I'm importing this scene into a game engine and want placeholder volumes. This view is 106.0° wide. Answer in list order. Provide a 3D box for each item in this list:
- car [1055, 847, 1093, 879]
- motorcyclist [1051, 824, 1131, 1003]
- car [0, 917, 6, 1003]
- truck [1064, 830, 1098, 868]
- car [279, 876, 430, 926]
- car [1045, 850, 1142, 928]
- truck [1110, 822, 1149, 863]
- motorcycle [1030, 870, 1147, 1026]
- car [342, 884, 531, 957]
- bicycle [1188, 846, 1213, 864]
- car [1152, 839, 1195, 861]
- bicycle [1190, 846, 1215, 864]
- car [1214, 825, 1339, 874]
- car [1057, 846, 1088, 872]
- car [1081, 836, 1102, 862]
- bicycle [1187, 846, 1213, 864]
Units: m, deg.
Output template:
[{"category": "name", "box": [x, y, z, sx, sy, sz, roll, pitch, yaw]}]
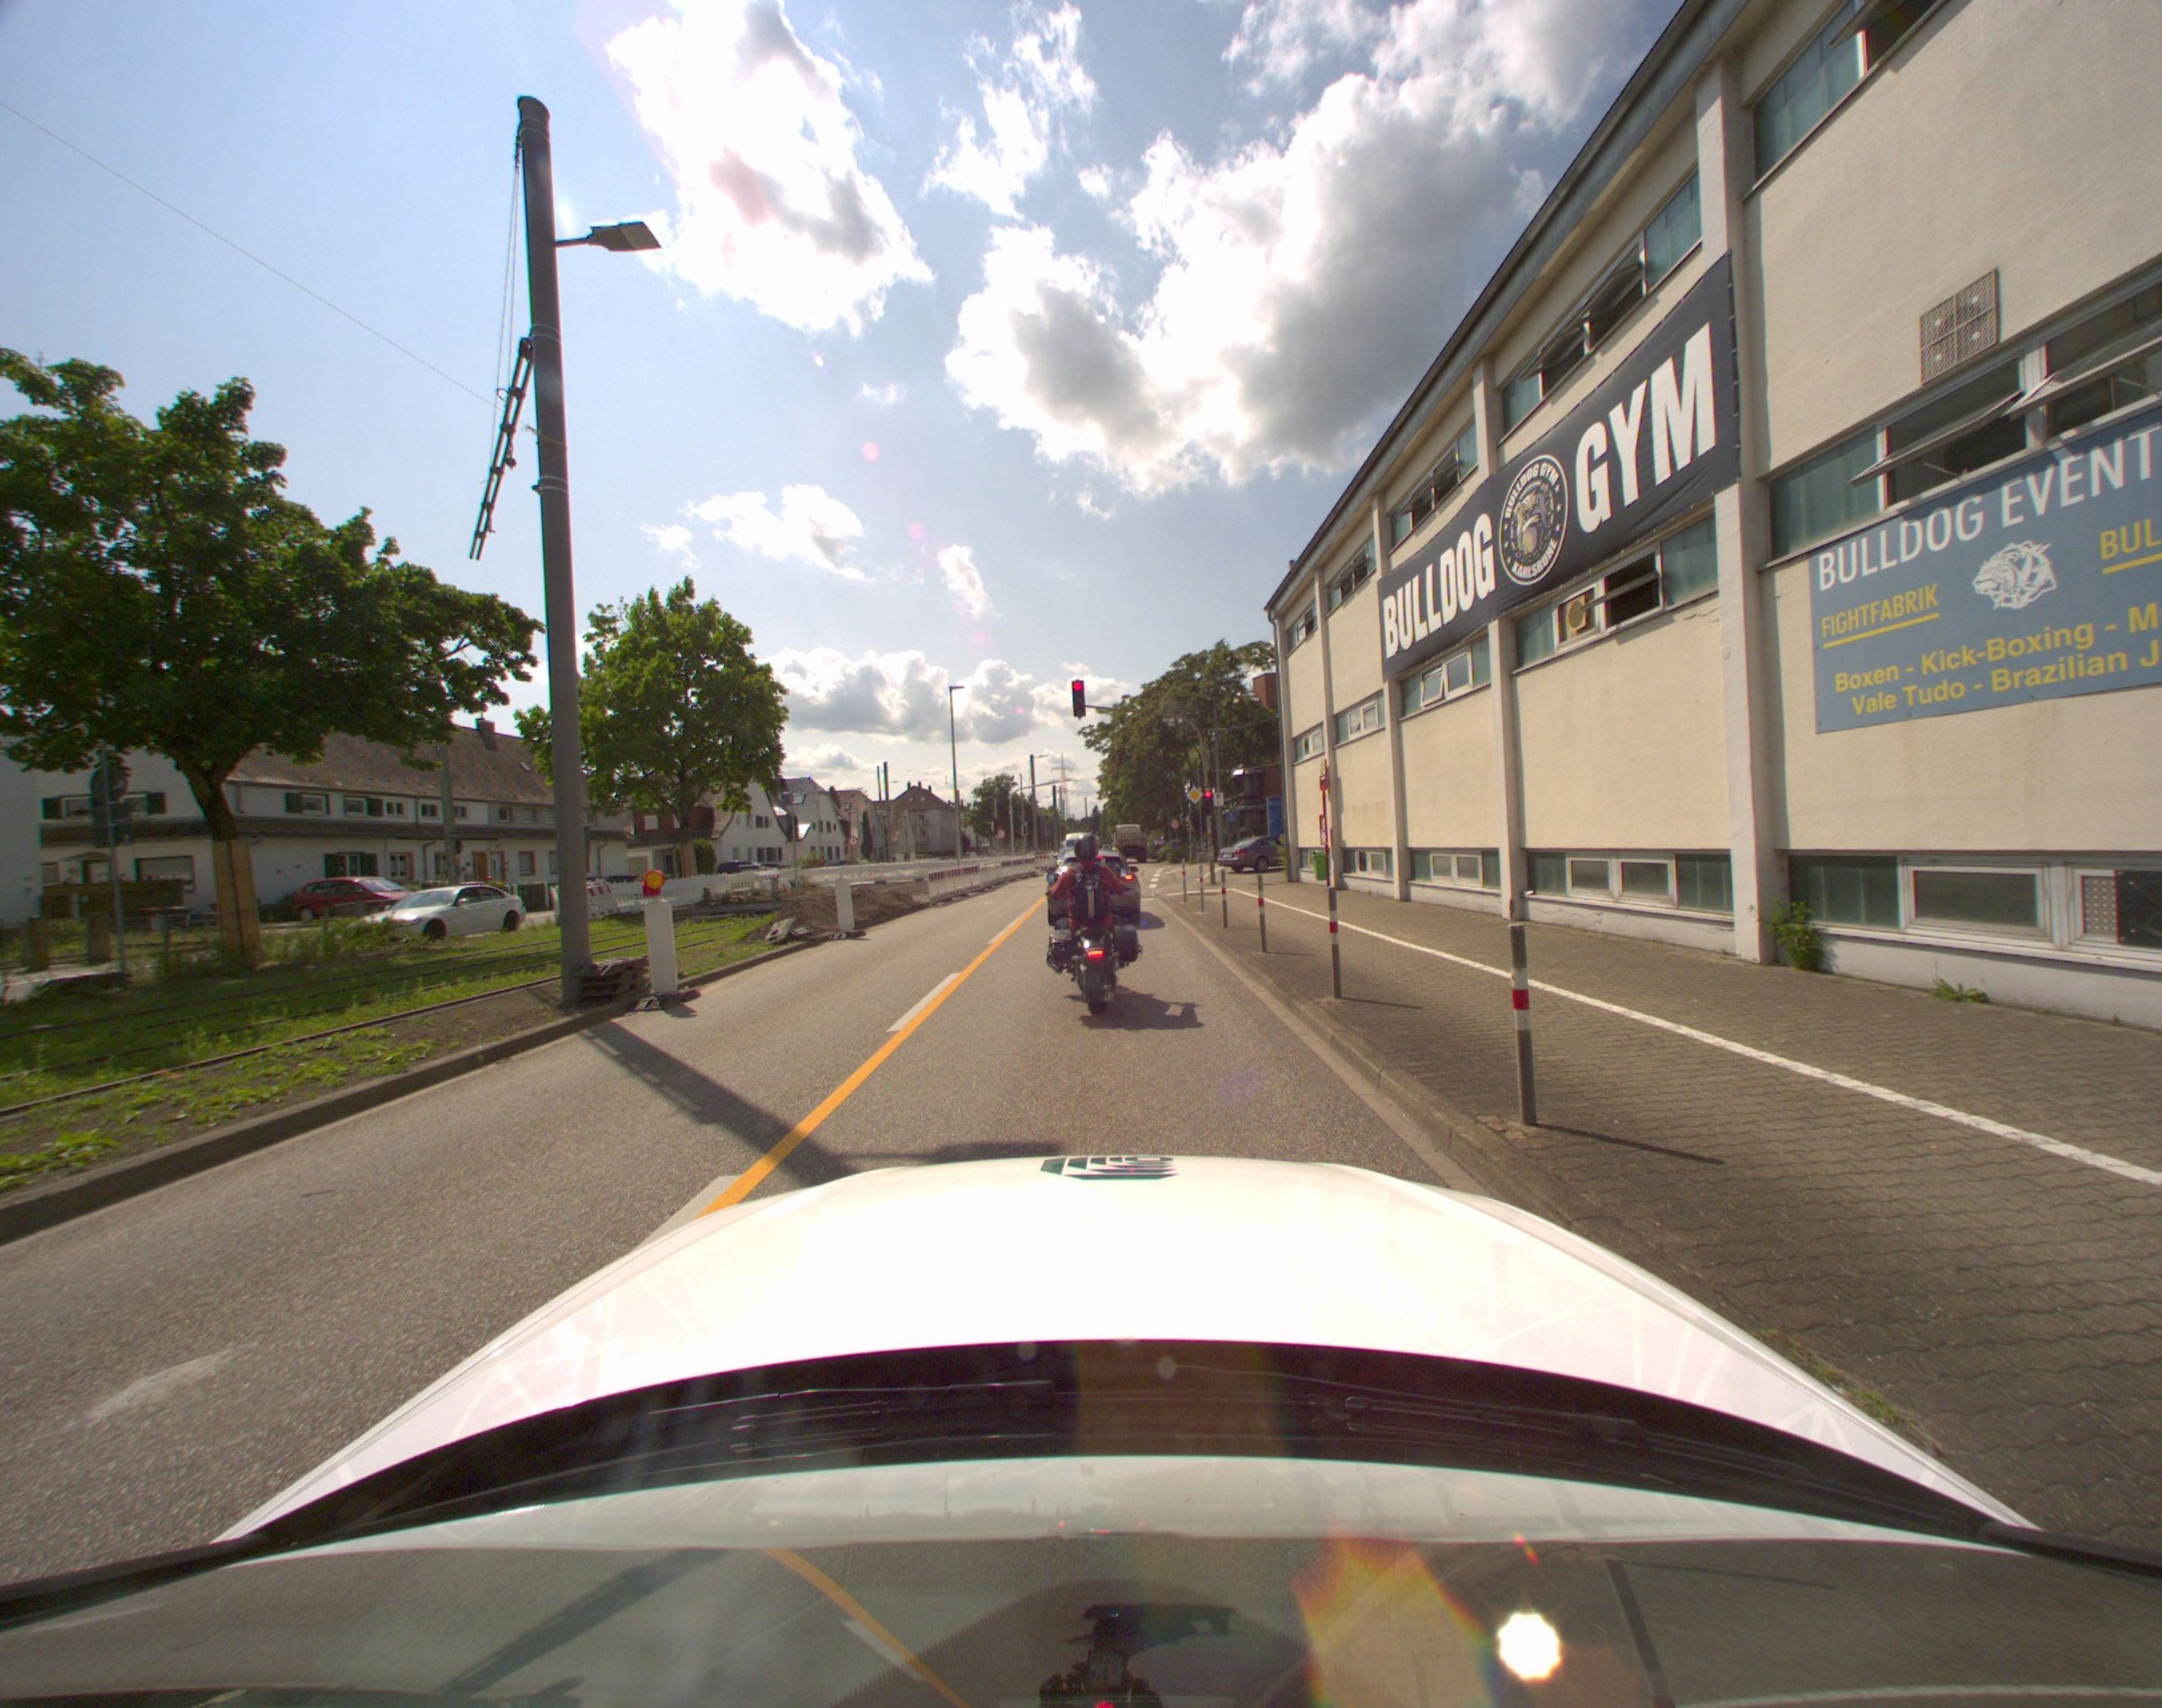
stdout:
[{"category": "car", "box": [-0.320, 0.411, 42.849, 1.638, 1.498, 4.272, -3, 1, 3]}, {"category": "motorcyclist", "box": [0.102, 0.542, 7.746, 0.695, 1.604, 0.692, -1, 0, 1]}, {"category": "car", "box": [-15.696, 1.523, 9.389, 1.497, 1.176, 3.749, -3, 1, 1]}, {"category": "truck", "box": [0.048, -0.408, 58.955, 2.085, 2.476, 5.200, -5, 2, 2]}, {"category": "car", "box": [-27.124, 1.728, 30.500, 3.973, 1.509, 1.726, -3, 0, 0]}, {"category": "car", "box": [0.144, 0.624, 16.935, 1.727, 1.403, 4.082, -1, 0, -3]}, {"category": "truck", "box": [4.039, -0.887, 66.915, 2.954, 3.173, 7.773, -1, 0, 4]}, {"category": "motorcycle", "box": [0.099, 0.801, 7.978, 0.939, 1.200, 2.473, -1, 1, 2]}, {"category": "car", "box": [-16.035, 1.591, 20.591, 1.537, 1.376, 4.246, -3, 1, -4]}, {"category": "bicycle", "box": [8.126, 0.078, 55.454, 1.699, 1.172, 0.439, -1, 0, 6]}, {"category": "car", "box": [8.583, -0.396, 75.570, 4.023, 1.926, 1.781, -1, 0, -43]}, {"category": "bicycle", "box": [8.436, 0.073, 56.702, 1.699, 1.172, 0.439, -1, 0, 6]}, {"category": "car", "box": [8.201, -0.223, 34.250, 4.713, 1.712, 1.897, -4, 2, -16]}, {"category": "car", "box": [-0.480, 0.318, 51.478, 1.738, 1.437, 4.085, -4, 0, 1]}, {"category": "car", "box": [0.863, -0.413, 68.042, 1.583, 2.142, 3.629, -1, 0, 2]}, {"category": "bicycle", "box": [8.178, 0.078, 55.953, 1.699, 1.172, 0.439, -1, 0, 6]}]
